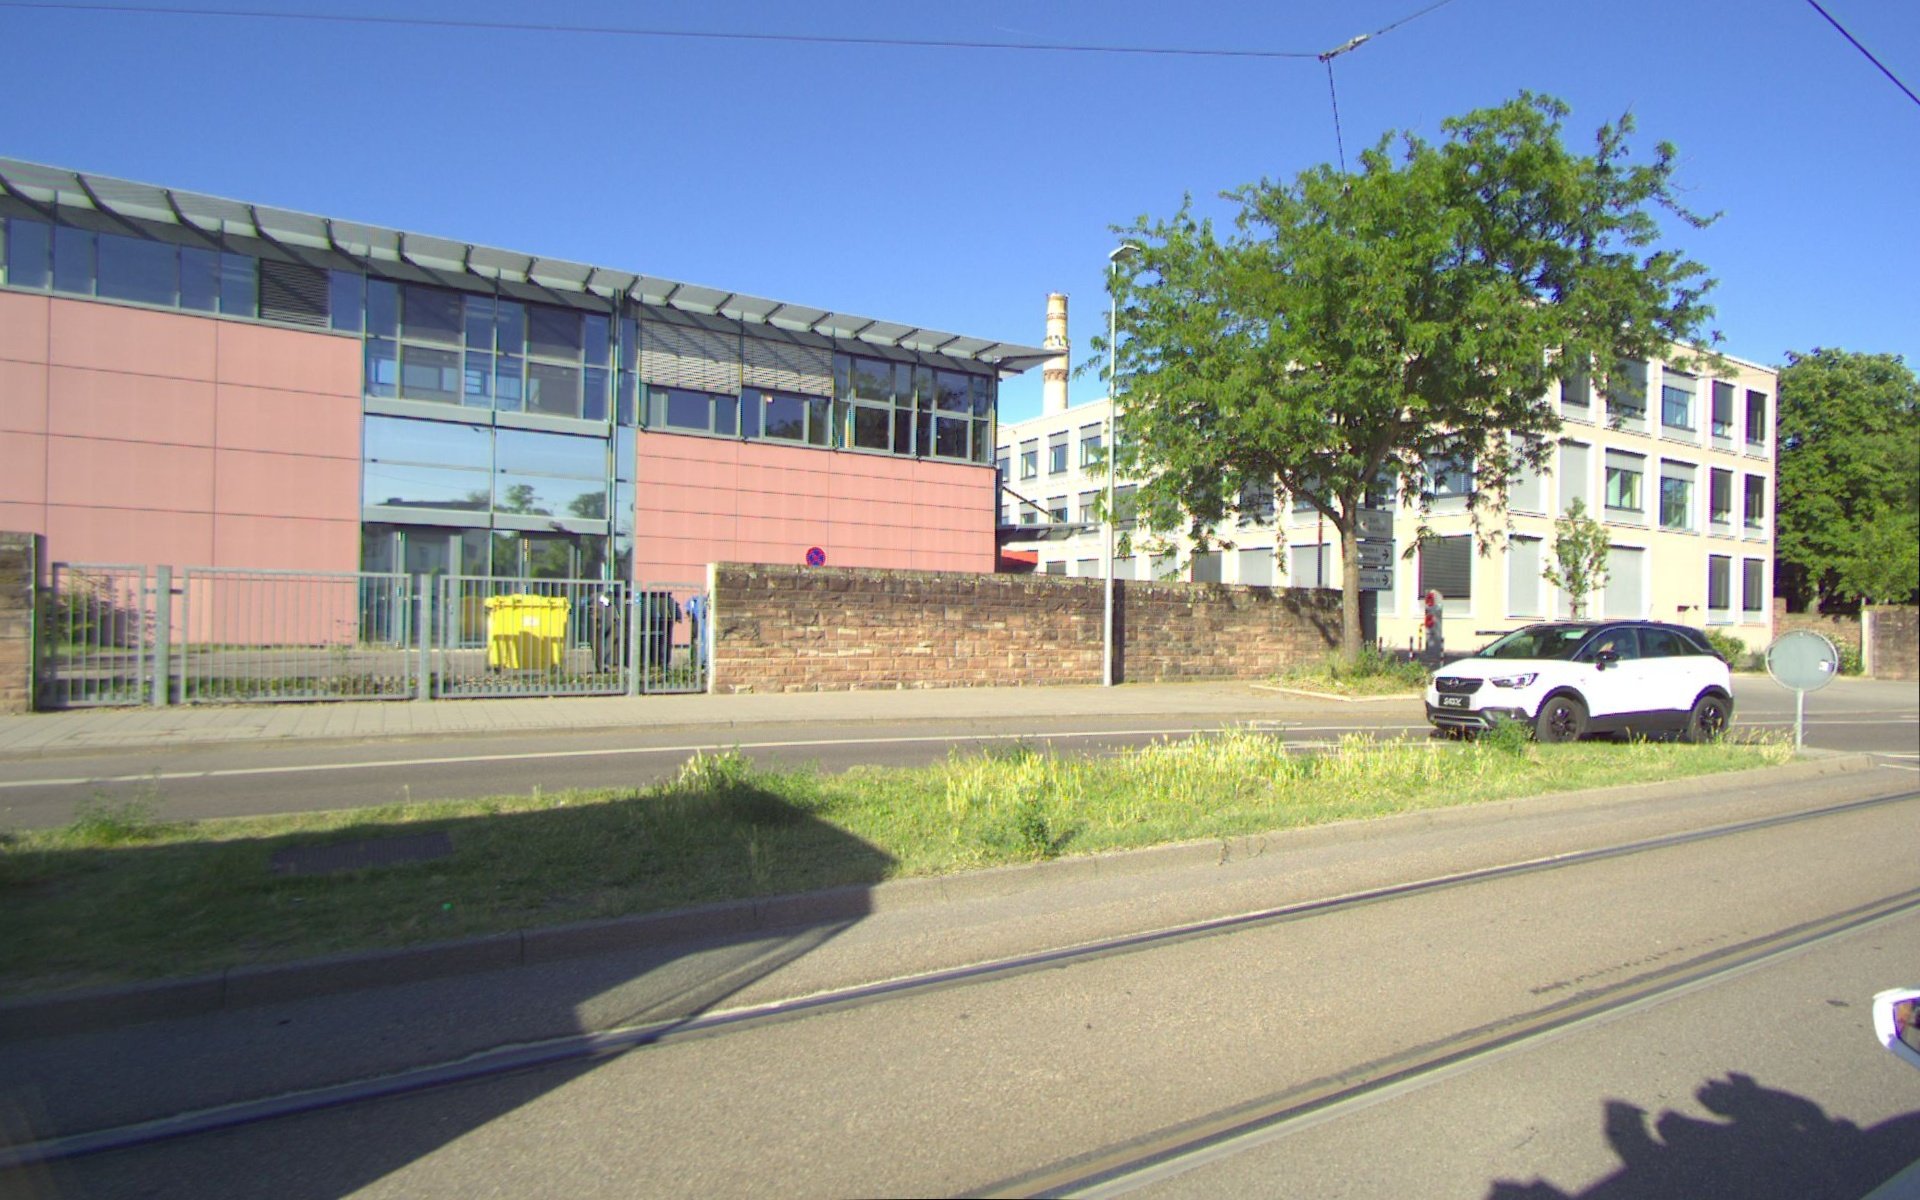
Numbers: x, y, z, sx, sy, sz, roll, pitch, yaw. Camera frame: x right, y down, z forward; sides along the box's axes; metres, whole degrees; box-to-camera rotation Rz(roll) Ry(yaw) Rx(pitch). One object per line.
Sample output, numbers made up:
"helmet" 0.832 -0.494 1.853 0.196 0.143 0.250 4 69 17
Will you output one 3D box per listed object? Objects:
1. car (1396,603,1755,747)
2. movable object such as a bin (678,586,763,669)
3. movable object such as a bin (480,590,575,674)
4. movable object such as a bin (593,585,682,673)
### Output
"car" 8.068 0.938 13.232 4.143 1.685 1.764 1 -1 -18
"movable object such as a bin" -4.410 0.509 18.478 1.294 1.466 0.876 1 -1 -31
"movable object such as a bin" -7.034 0.518 16.327 1.295 1.302 0.876 1 -1 -32
"movable object such as a bin" -5.568 0.498 17.340 1.294 1.466 0.876 1 -1 -31
